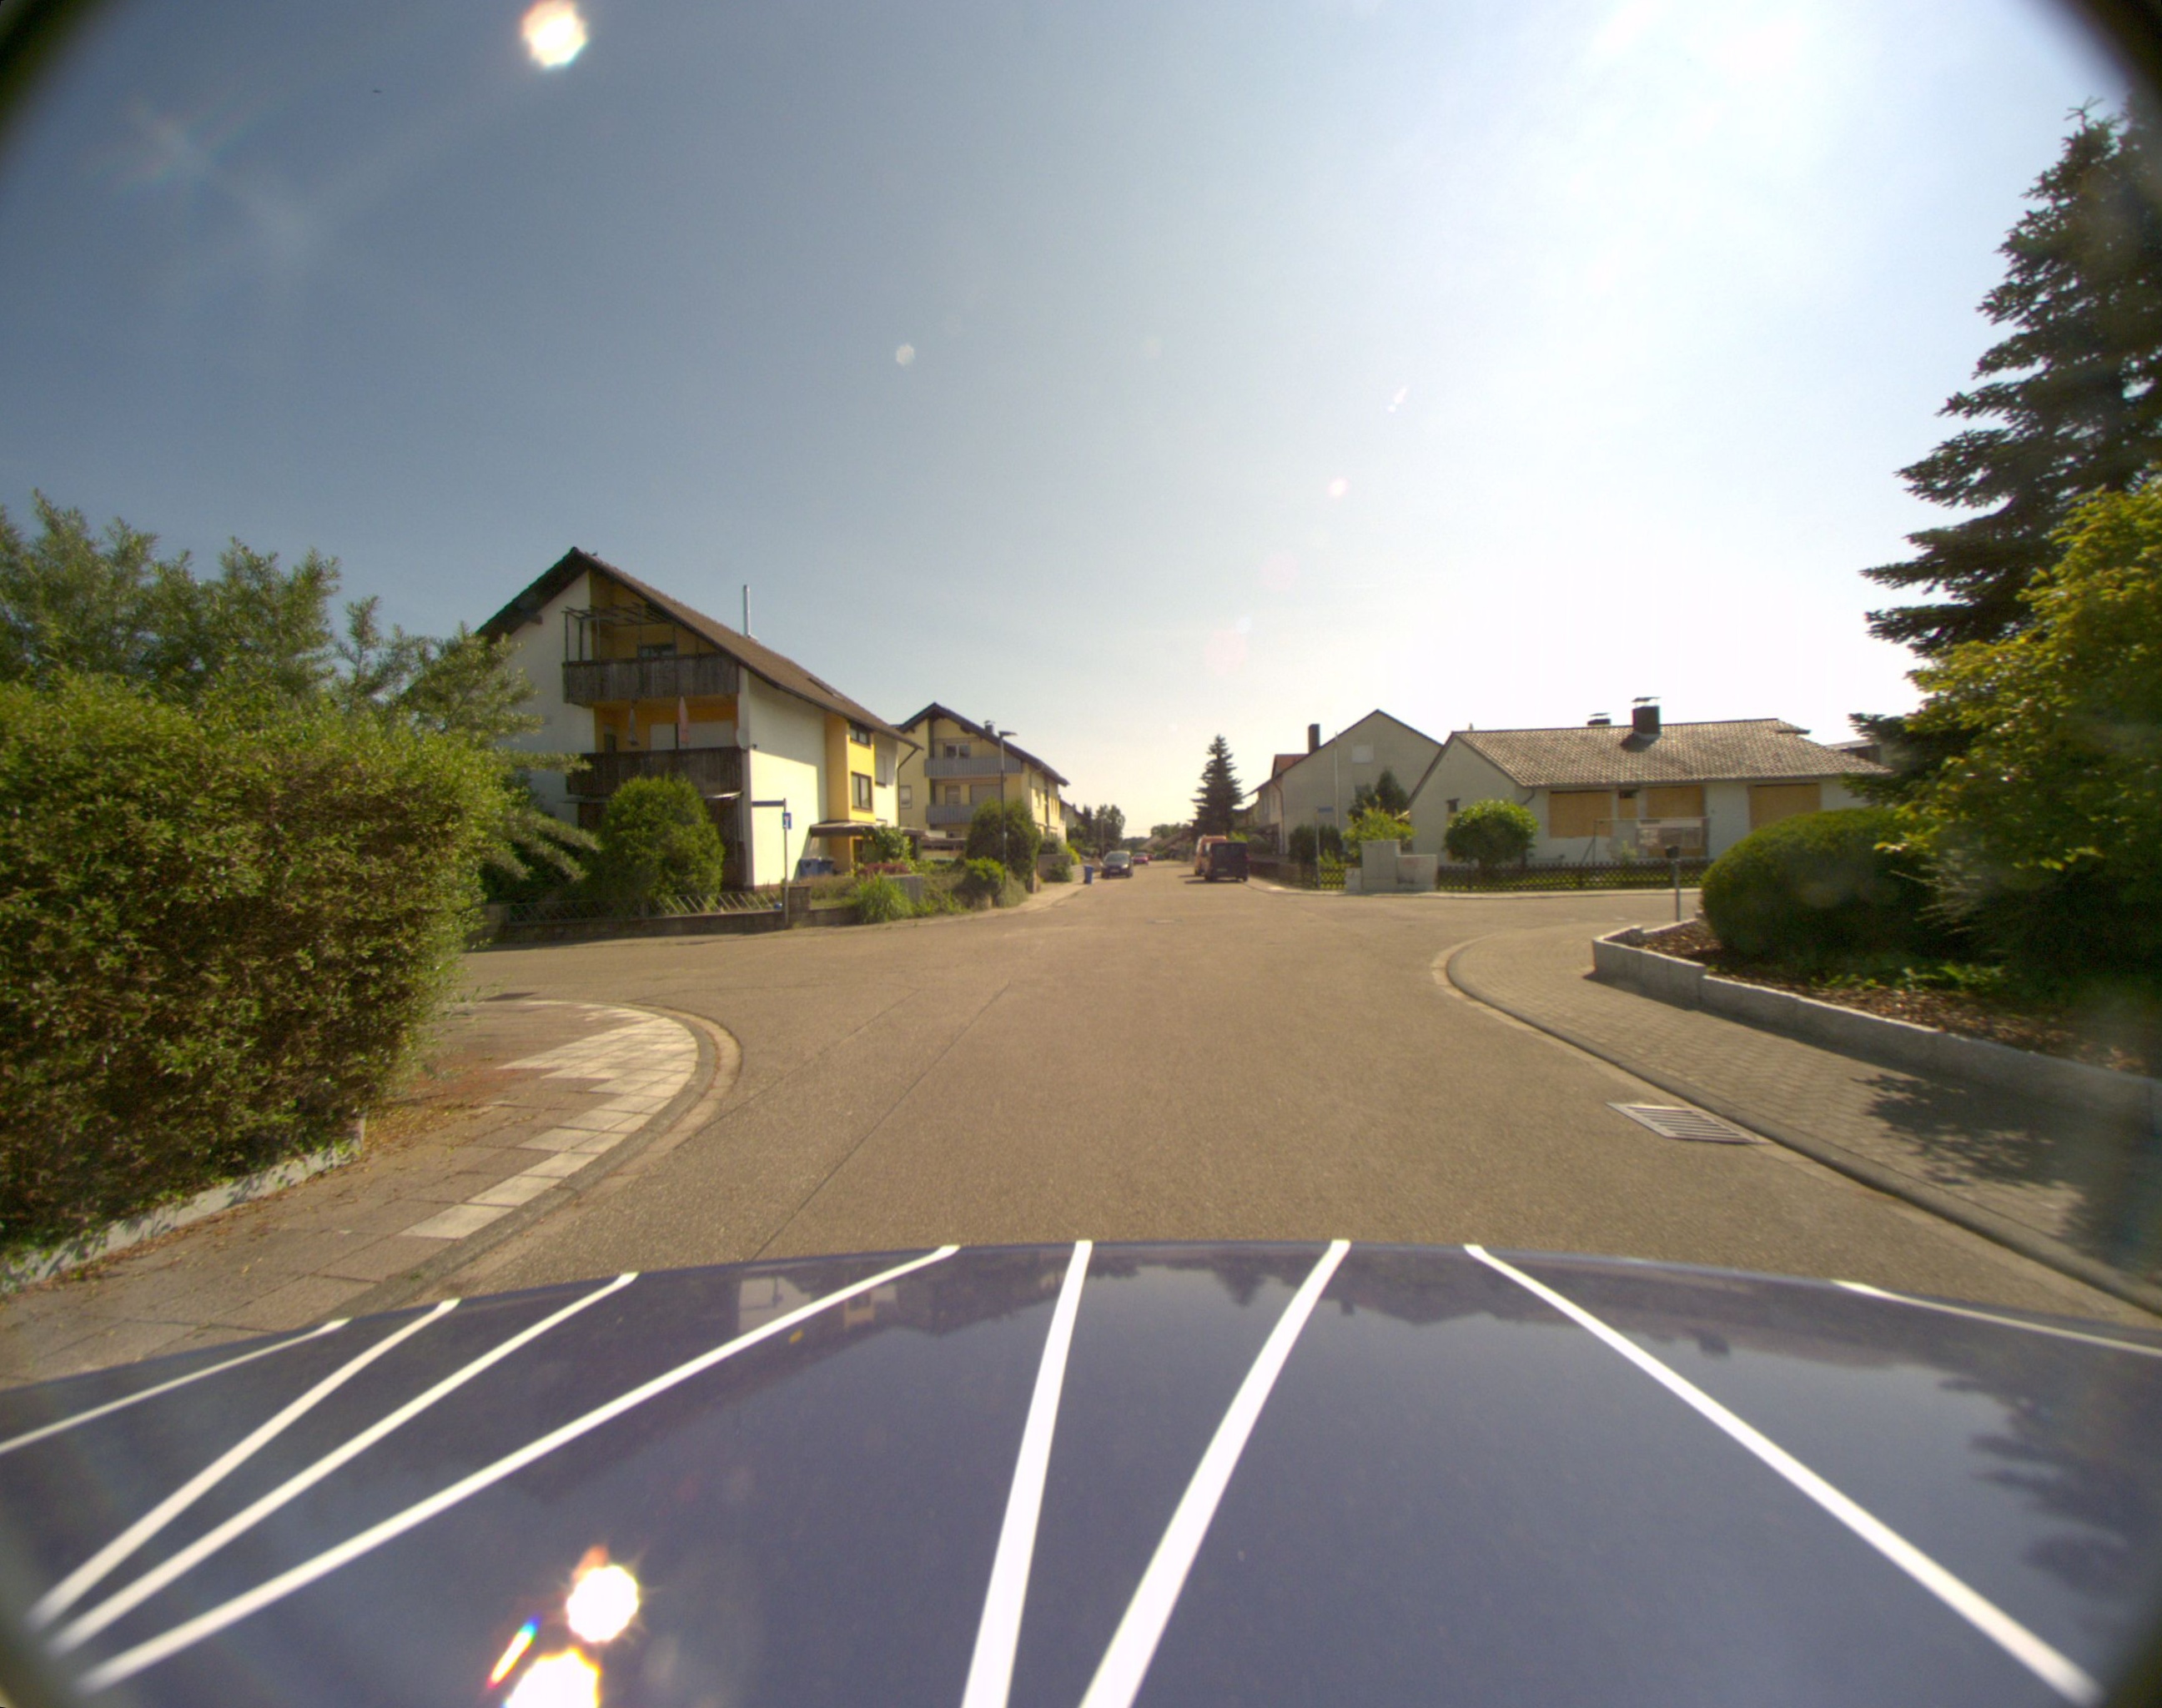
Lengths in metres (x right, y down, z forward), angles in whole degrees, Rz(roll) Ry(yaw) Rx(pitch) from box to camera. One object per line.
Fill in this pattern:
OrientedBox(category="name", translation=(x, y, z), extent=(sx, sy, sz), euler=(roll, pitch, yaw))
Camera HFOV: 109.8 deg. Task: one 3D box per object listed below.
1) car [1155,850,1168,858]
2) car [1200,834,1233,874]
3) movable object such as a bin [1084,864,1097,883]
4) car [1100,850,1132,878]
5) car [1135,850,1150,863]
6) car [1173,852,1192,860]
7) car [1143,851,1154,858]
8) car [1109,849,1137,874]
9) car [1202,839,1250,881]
OrientedBox(category="car", translation=(14.872, 0.020, 140.620), extent=(1.709, 1.332, 4.000), euler=(-2, -1, -2))
OrientedBox(category="car", translation=(8.339, -0.001, 46.986), extent=(1.554, 2.310, 4.205), euler=(-2, 0, 5))
OrientedBox(category="movable object such as a bin", translation=(0.463, 0.982, 38.461), extent=(0.584, 0.911, 0.598), euler=(-2, 1, 5))
OrientedBox(category="car", translation=(2.232, 0.589, 47.922), extent=(1.631, 1.616, 4.002), euler=(-2, 0, 7))
OrientedBox(category="car", translation=(7.249, 0.290, 89.767), extent=(1.517, 1.398, 3.678), euler=(-2, 0, 3))
OrientedBox(category="car", translation=(20.017, 0.383, 149.653), extent=(3.412, 1.521, 1.638), euler=(-2, 1, -1))
OrientedBox(category="car", translation=(13.595, 0.099, 153.507), extent=(1.709, 1.332, 4.000), euler=(-2, -1, -2))
OrientedBox(category="car", translation=(3.021, 0.489, 53.455), extent=(1.631, 1.616, 4.002), euler=(-2, 0, 7))
OrientedBox(category="car", translation=(7.116, 0.276, 37.652), extent=(1.869, 1.927, 4.205), euler=(-2, 0, 5))
